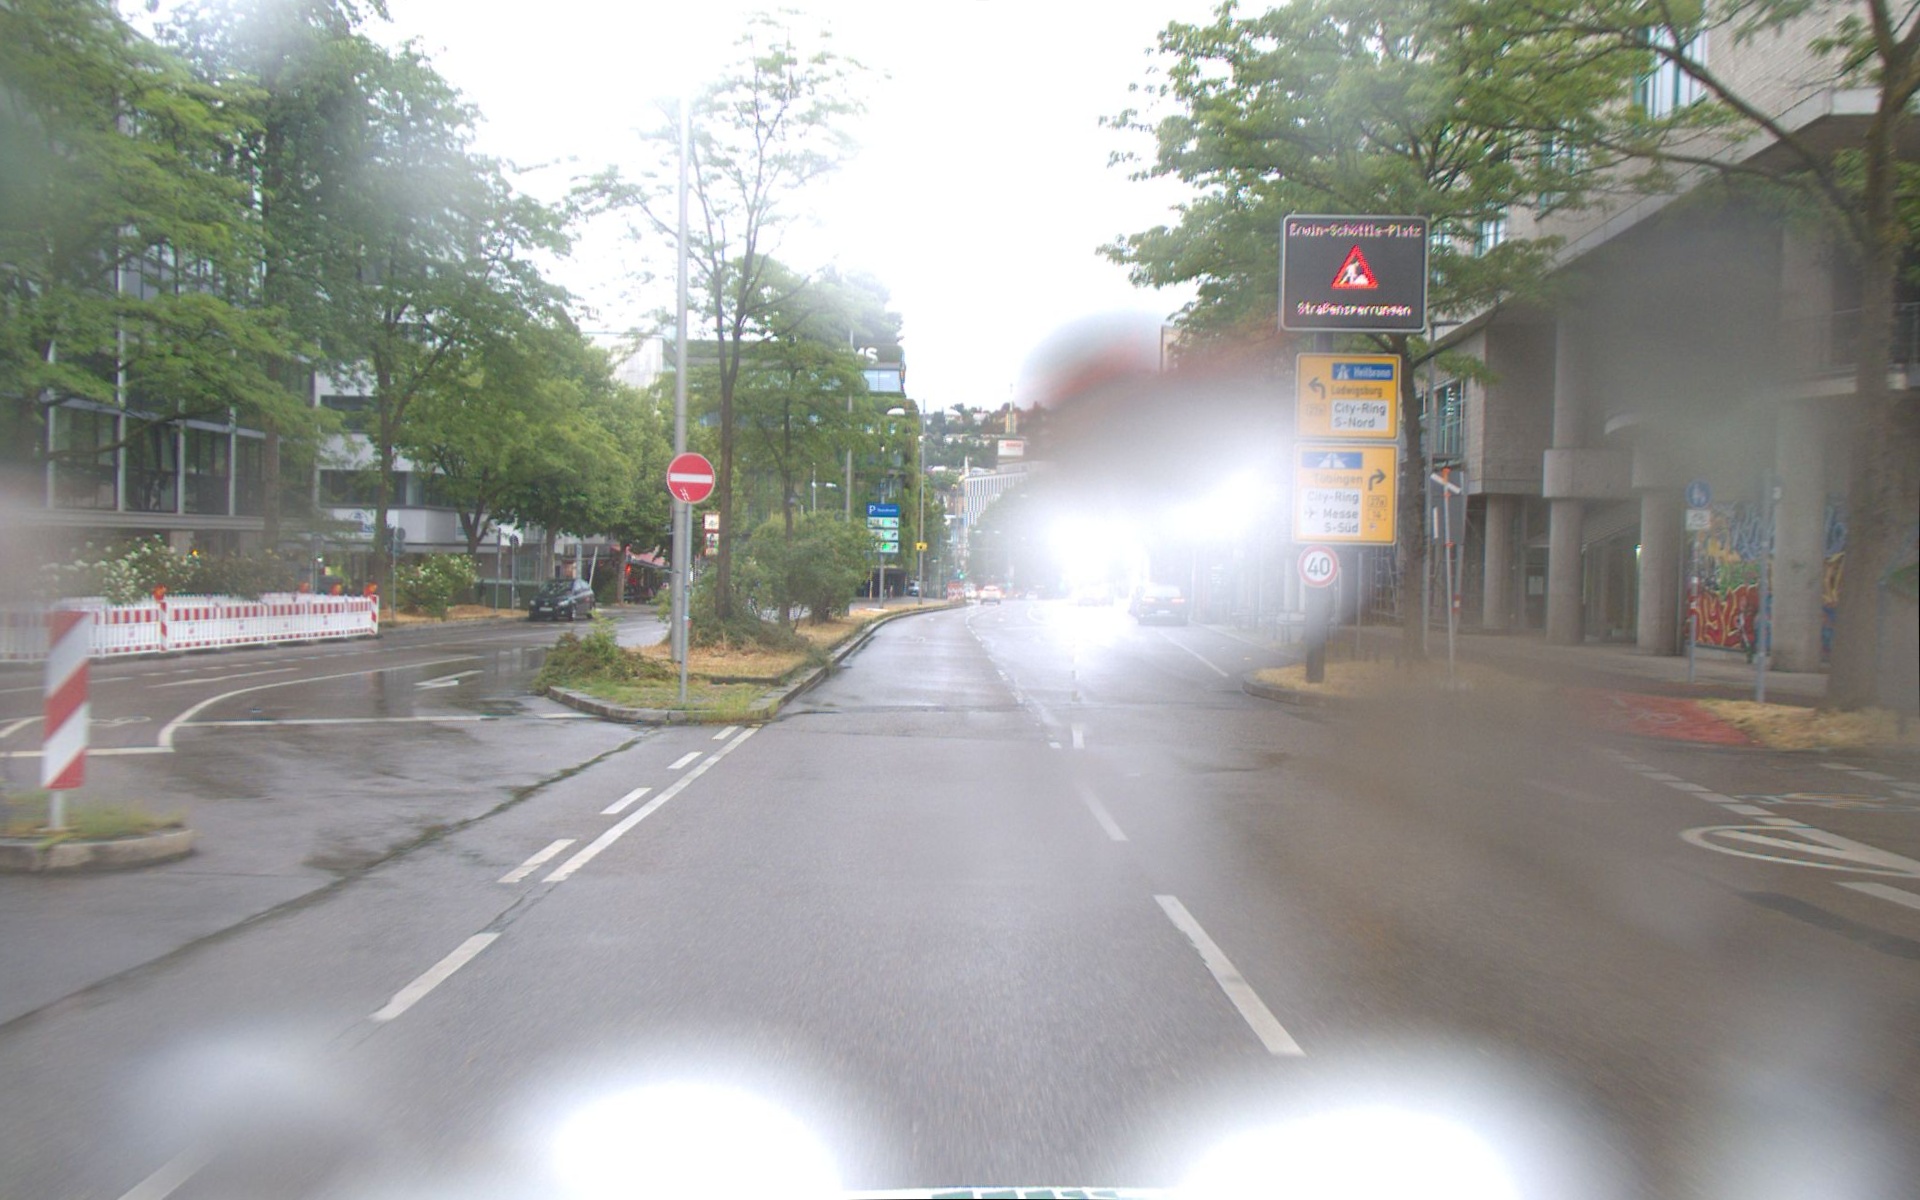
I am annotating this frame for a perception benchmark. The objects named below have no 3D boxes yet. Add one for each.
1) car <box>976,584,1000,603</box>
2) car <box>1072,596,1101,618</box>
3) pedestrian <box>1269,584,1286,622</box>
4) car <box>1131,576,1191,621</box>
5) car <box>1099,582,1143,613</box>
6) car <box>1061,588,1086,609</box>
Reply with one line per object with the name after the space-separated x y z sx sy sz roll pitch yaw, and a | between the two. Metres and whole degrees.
2.569 -0.554 153.456 1.793 1.668 4.296 2 -1 -5 | car
10.504 0.595 137.707 1.953 1.754 3.998 0 -1 -2 | car
16.251 0.156 84.661 0.759 1.954 0.702 0 -1 -2 | pedestrian
7.915 -0.050 65.470 2.288 1.721 4.003 0 0 6 | car
8.160 -0.115 84.145 1.807 1.518 4.000 0 0 0 | car
10.208 -0.108 148.904 1.953 1.766 3.999 0 -1 -1 | car
